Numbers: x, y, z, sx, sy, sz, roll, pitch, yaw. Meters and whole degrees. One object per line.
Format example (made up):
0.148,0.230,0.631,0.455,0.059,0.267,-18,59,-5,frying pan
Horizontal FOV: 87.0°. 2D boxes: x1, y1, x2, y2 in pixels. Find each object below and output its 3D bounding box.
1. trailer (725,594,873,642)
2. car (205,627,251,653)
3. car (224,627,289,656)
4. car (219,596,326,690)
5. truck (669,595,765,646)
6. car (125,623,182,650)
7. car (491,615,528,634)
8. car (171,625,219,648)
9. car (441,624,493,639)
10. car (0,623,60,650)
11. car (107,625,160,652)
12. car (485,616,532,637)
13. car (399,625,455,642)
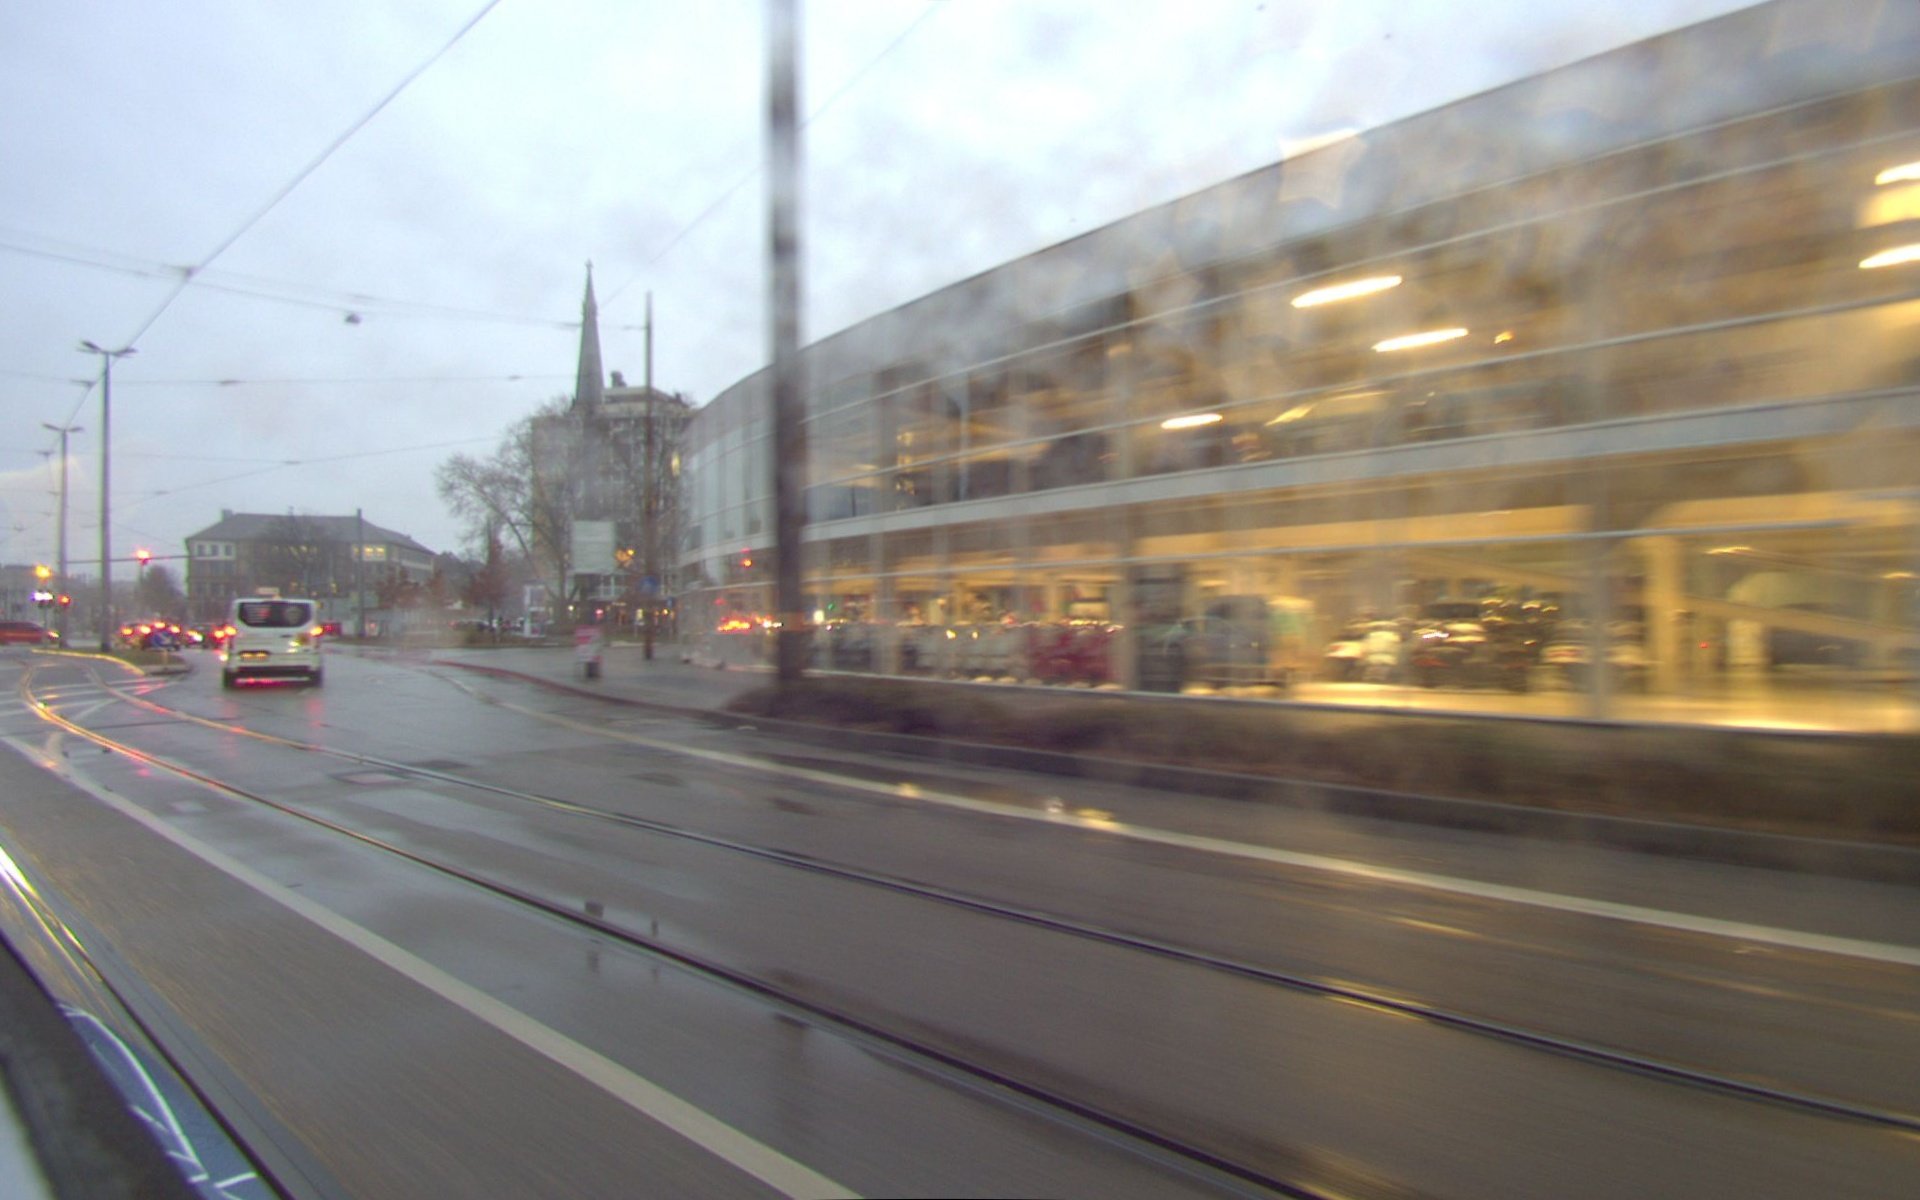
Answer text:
-12.317,1.306,80.087,2.627,3.443,14.898,-1,0,31,trailer
-42.124,2.265,58.206,3.472,1.429,1.583,-1,-1,44,car
-37.123,2.156,53.336,4.589,1.432,1.971,-1,-1,44,car
-16.705,0.961,24.546,1.967,2.029,4.696,-1,0,-36,car
-17.177,1.367,71.963,2.648,3.443,6.685,-1,0,31,truck
-43.595,1.952,54.683,4.001,1.401,1.850,-1,-3,44,car
-52.175,2.841,117.251,3.930,2.029,2.007,-1,0,-23,car
-47.889,2.280,63.336,4.000,1.368,1.705,-1,-1,43,car
-46.884,2.949,96.246,3.949,1.320,1.997,-1,0,5,car
-73.190,2.827,77.965,5.458,2.029,2.006,-1,0,-17,car
-48.617,2.264,59.511,4.000,1.497,1.879,-1,-1,43,car
-46.298,2.674,103.882,3.949,2.029,1.997,-1,0,5,car
-46.745,2.920,88.769,3.949,1.320,1.997,-1,0,5,car
